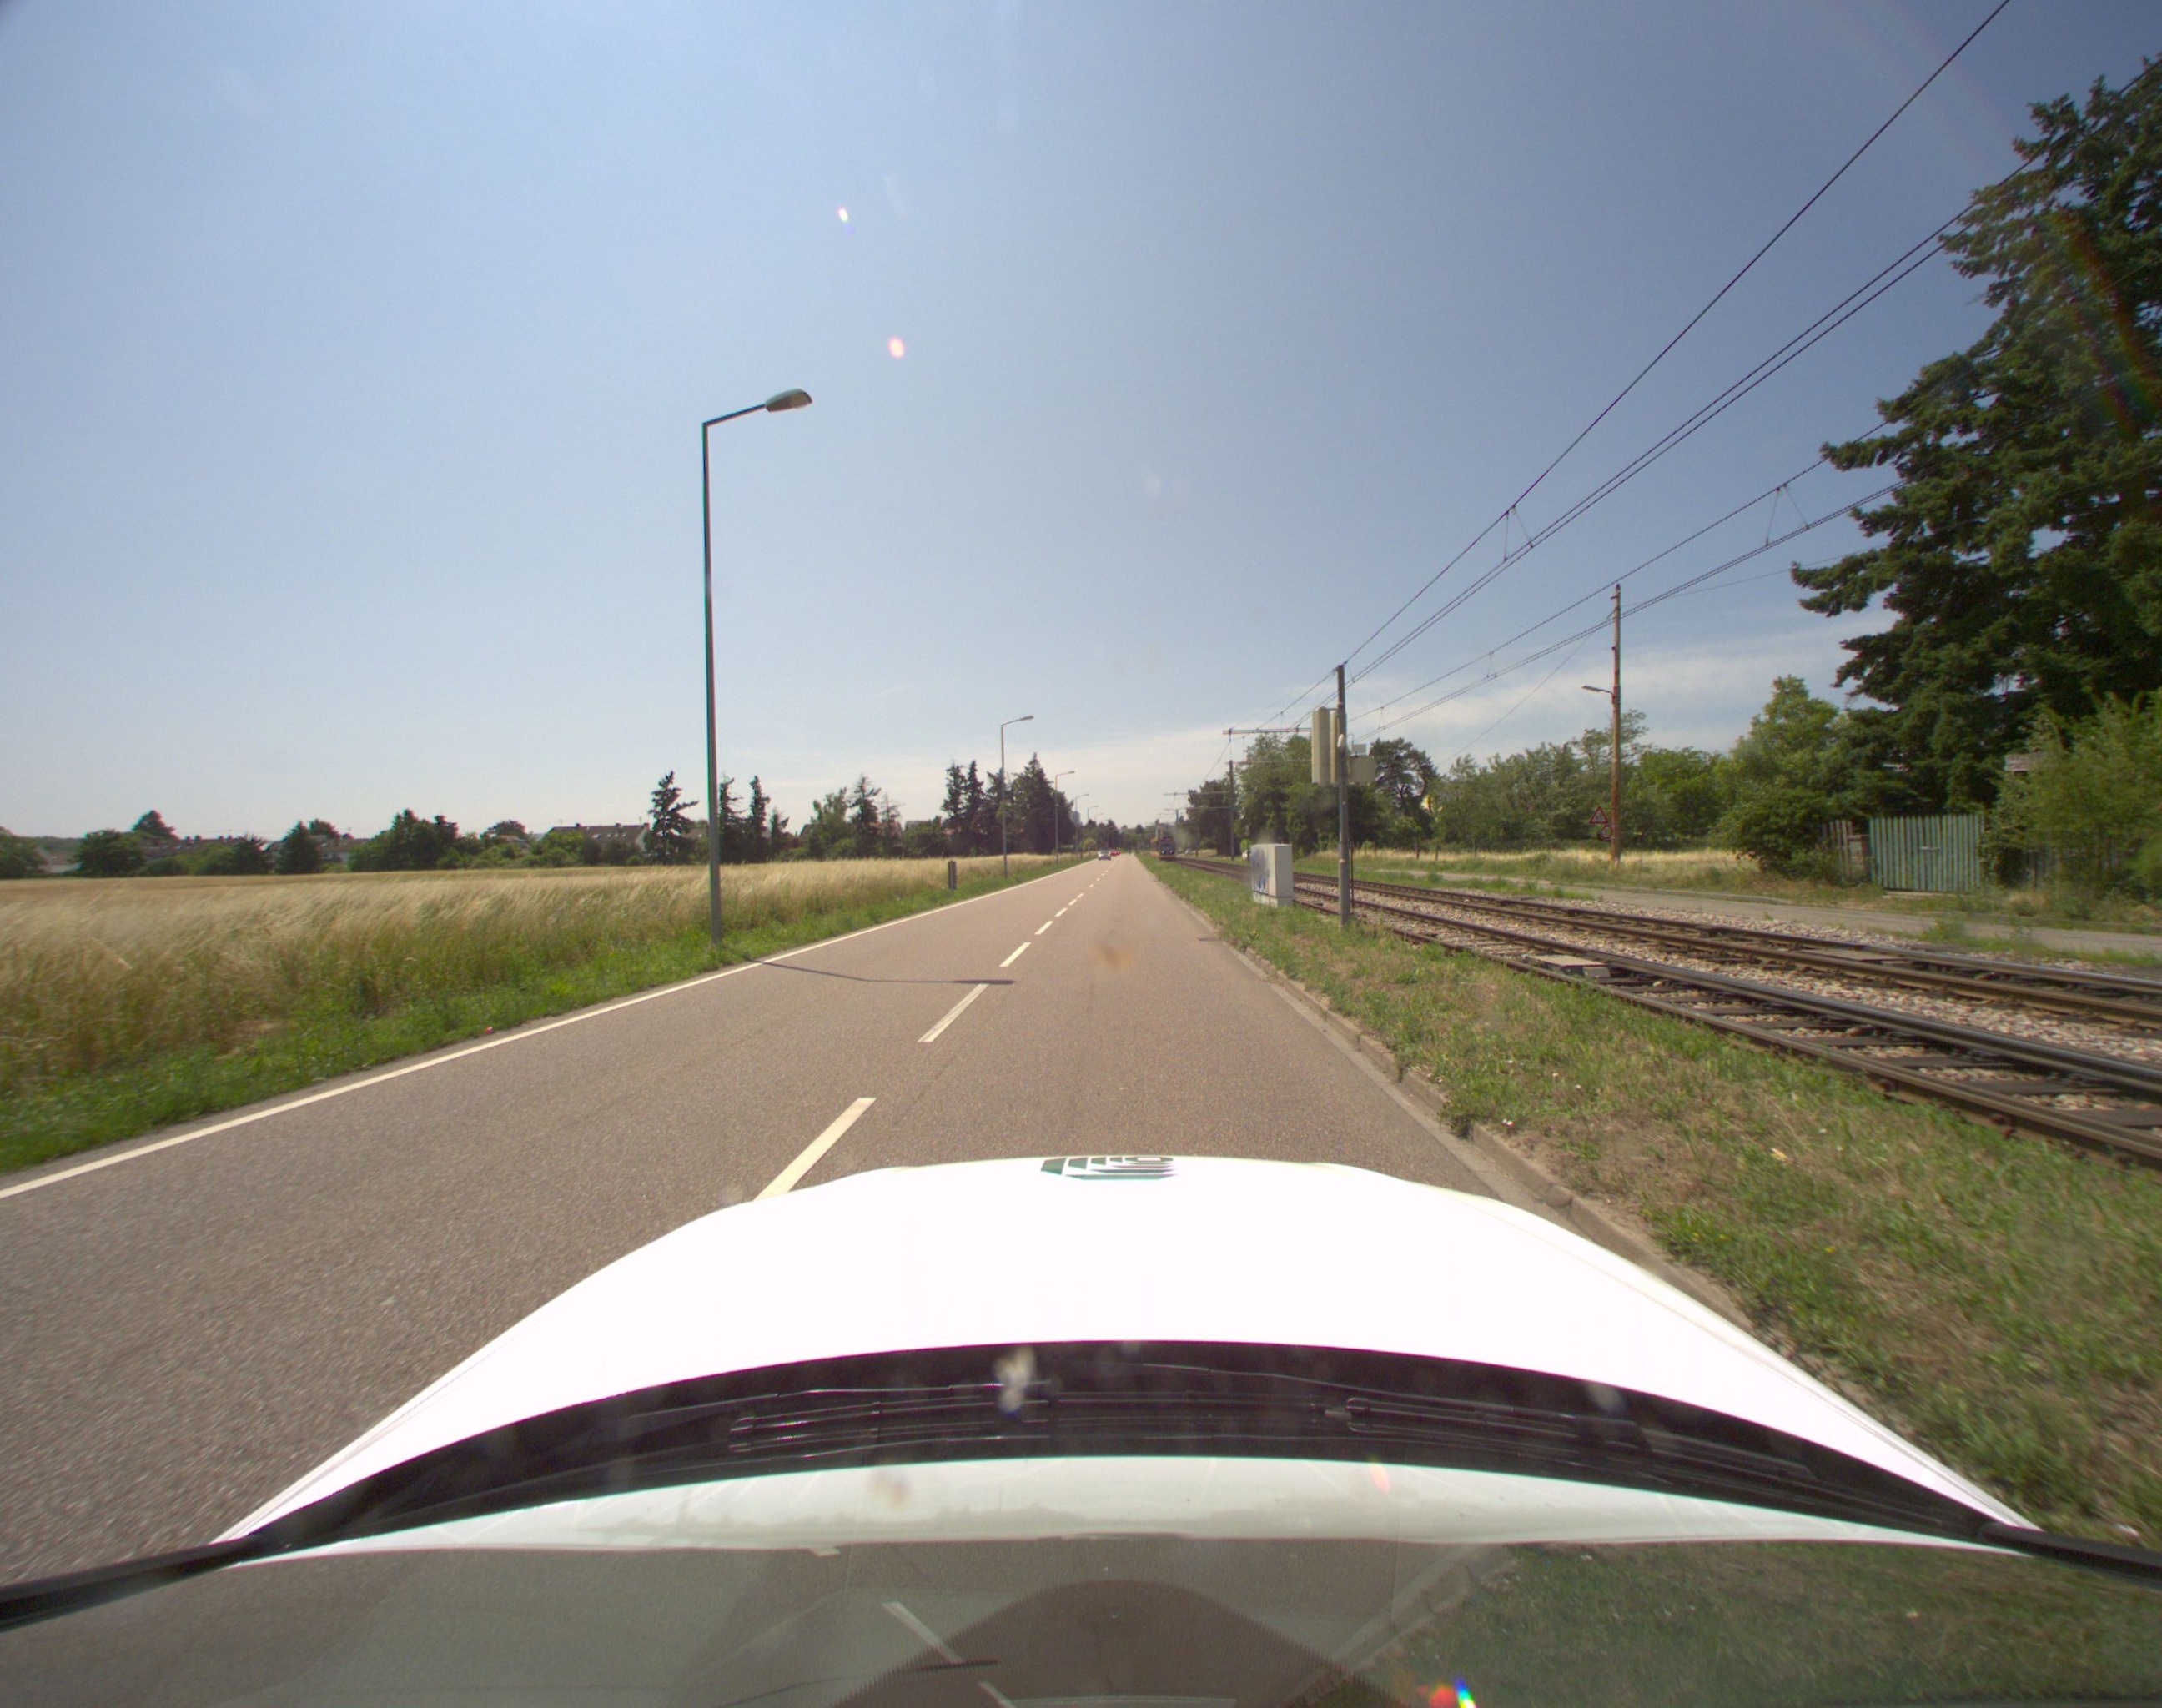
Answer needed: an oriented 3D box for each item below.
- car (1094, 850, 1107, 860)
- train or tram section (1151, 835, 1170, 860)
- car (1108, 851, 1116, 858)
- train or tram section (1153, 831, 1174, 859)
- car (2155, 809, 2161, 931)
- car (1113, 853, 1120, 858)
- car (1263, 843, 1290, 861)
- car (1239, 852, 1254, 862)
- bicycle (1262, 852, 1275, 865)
[{"bbox_3d":[3.067,0.175,126.096,1.826,1.467,4.682,-1,-1,3],"label":"car"},{"bbox_3d":[12.895,-1.019,132.963,2.690,3.766,6.734,-2,-1,3],"label":"train or tram section"},{"bbox_3d":[6.699,0.204,178.113,1.638,1.400,3.847,-2,-1,3],"label":"car"},{"bbox_3d":[11.830,-1.169,117.109,2.419,3.766,11.567,-2,-1,3],"label":"train or tram section"},{"bbox_3d":[16.636,0.225,9.316,2.029,1.882,5.070,-2,-1,2],"label":"car"},{"bbox_3d":[9.906,0.503,226.166,1.800,1.286,4.289,-2,-1,3],"label":"car"},{"bbox_3d":[20.753,-0.183,86.707,1.985,1.802,4.798,-2,-1,3],"label":"car"},{"bbox_3d":[21.511,0.406,105.893,1.422,1.308,3.468,-2,-1,3],"label":"car"},{"bbox_3d":[22.355,0.531,97.116,0.924,1.430,3.388,-2,-1,3],"label":"bicycle"}]
